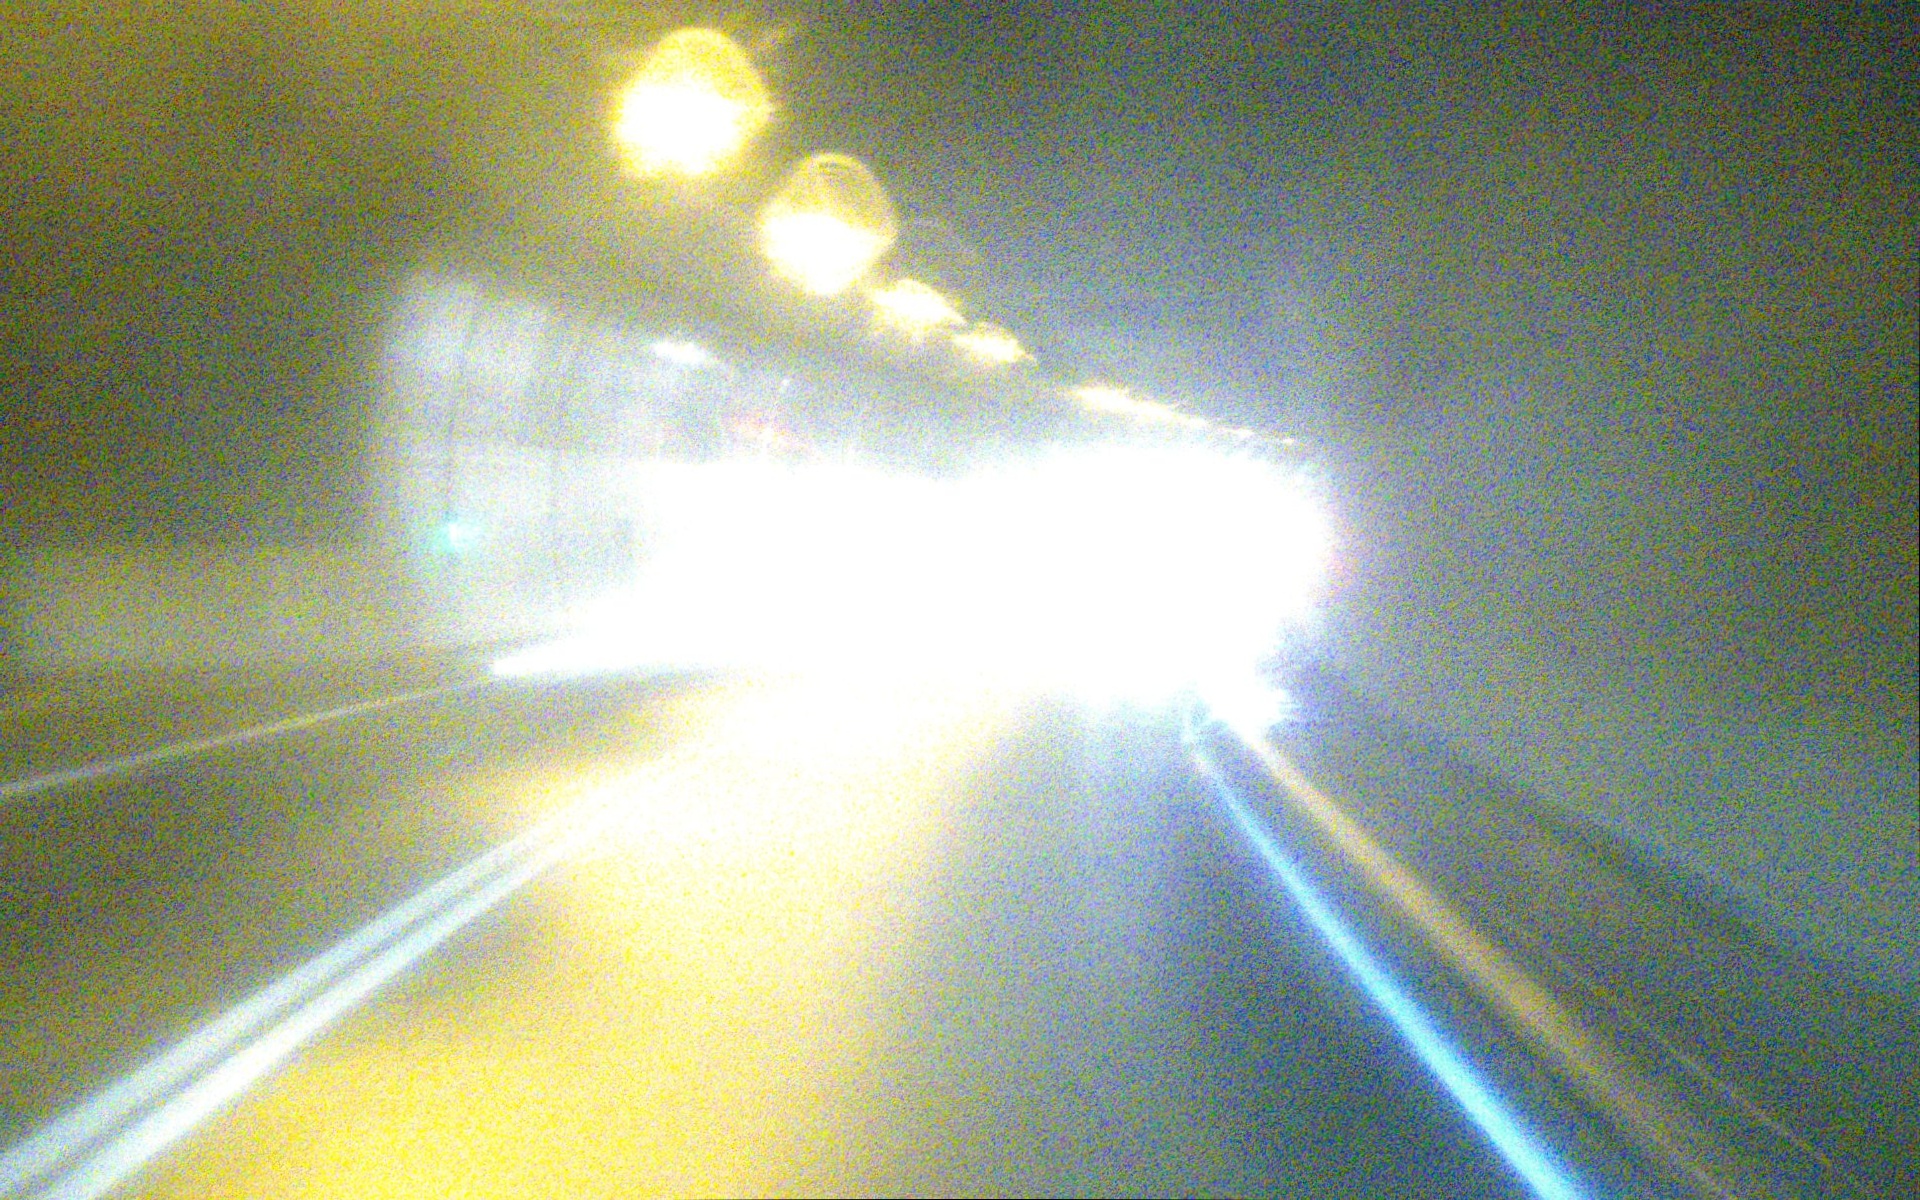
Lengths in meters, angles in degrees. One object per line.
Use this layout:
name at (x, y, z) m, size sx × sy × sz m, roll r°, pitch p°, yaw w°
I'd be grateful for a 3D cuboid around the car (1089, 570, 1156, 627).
car at (4.631, -0.053, 97.546) m, size 1.709 × 1.505 × 4.079 m, roll 2°, pitch 1°, yaw 5°

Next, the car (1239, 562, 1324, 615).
car at (10.688, -0.394, 113.959) m, size 1.995 × 1.645 × 3.997 m, roll 2°, pitch 1°, yaw 17°
